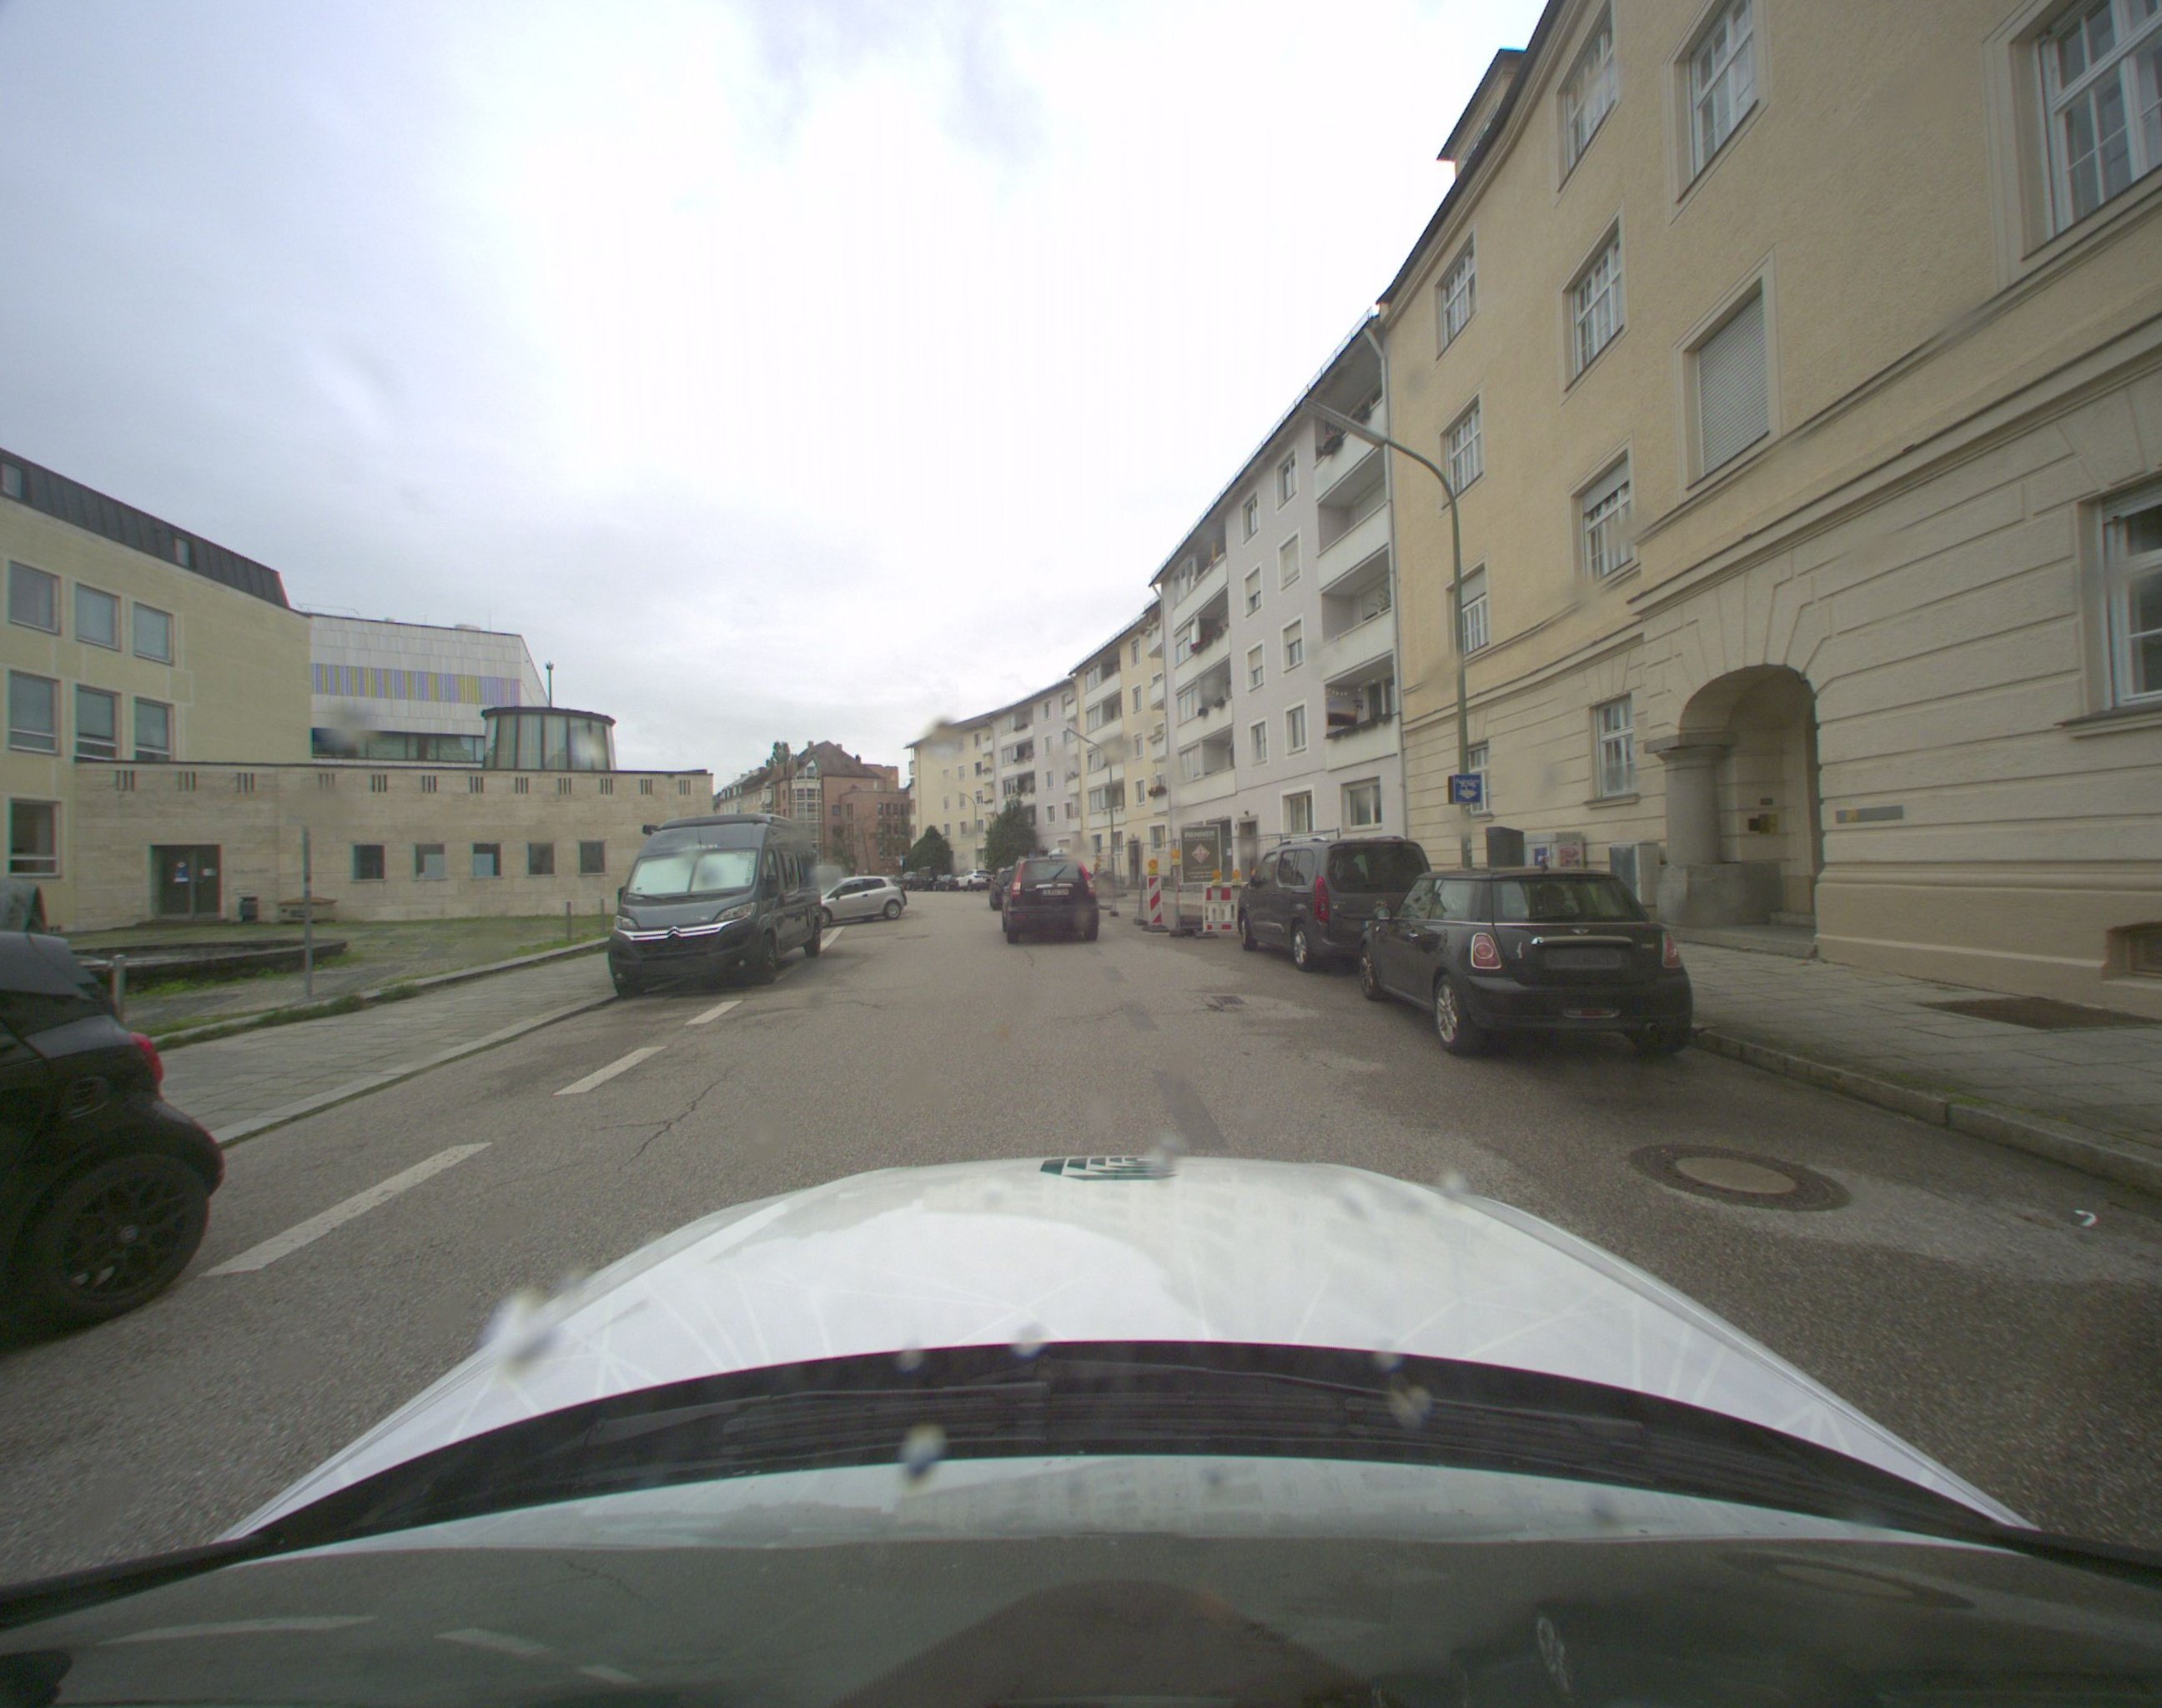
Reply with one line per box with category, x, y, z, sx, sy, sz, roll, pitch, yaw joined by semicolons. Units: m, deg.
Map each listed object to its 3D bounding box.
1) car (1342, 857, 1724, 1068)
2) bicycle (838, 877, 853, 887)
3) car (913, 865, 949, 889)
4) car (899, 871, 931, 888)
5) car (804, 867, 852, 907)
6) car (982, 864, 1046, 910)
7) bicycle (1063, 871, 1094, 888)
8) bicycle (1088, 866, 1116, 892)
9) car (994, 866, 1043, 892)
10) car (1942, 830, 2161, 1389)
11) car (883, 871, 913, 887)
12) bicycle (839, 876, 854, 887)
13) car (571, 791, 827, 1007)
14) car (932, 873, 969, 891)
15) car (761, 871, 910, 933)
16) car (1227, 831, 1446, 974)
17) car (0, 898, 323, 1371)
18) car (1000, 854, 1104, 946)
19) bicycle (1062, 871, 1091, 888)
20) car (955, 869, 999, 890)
car;3.736;0.773;7.571;1.700;1.447;3.835;0;-1;5
bicycle;-30.446;3.577;105.175;1.763;1.288;0.548;-1;-1;-27
car;-12.345;1.881;66.974;1.735;1.878;3.962;-1;-1;-30
car;-14.489;2.218;70.865;1.708;1.389;3.567;-1;-1;-30
car;-11.634;1.478;37.325;1.686;1.707;4.478;-1;-1;-23
car;-2.472;1.142;29.210;1.681;1.481;4.068;-1;-1;-13
bicycle;-0.163;1.698;53.921;1.871;1.091;0.642;-1;-1;-18
bicycle;1.136;1.349;44.517;0.969;1.388;2.553;-1;-1;-11
car;-3.845;1.491;49.638;1.732;1.483;3.968;-1;-1;-24
car;3.608;0.680;1.208;1.527;1.524;3.115;0;-1;6
car;-16.782;2.295;74.615;1.708;1.389;3.567;-1;-1;-30
bicycle;-30.159;3.534;104.580;1.763;1.288;0.548;-1;-1;-27
car;-5.777;0.588;13.384;2.164;2.642;5.996;-3;0;-10
car;-10.130;2.150;63.014;1.708;1.236;3.567;-1;-1;-30
car;-7.695;1.487;25.777;1.663;1.481;4.112;-7;-2;43
car;3.658;0.645;12.525;1.774;1.807;4.269;0;-1;-4
car;-4.406;0.990;2.324;1.666;1.502;2.975;-4;-1;-2
car;-0.714;0.887;17.105;1.888;1.647;3.983;-2;-1;-6
bicycle;-0.339;1.732;55.964;1.871;1.091;0.642;-1;-1;-18
car;-7.527;1.811;58.657;1.735;1.483;3.962;-1;-1;-30
